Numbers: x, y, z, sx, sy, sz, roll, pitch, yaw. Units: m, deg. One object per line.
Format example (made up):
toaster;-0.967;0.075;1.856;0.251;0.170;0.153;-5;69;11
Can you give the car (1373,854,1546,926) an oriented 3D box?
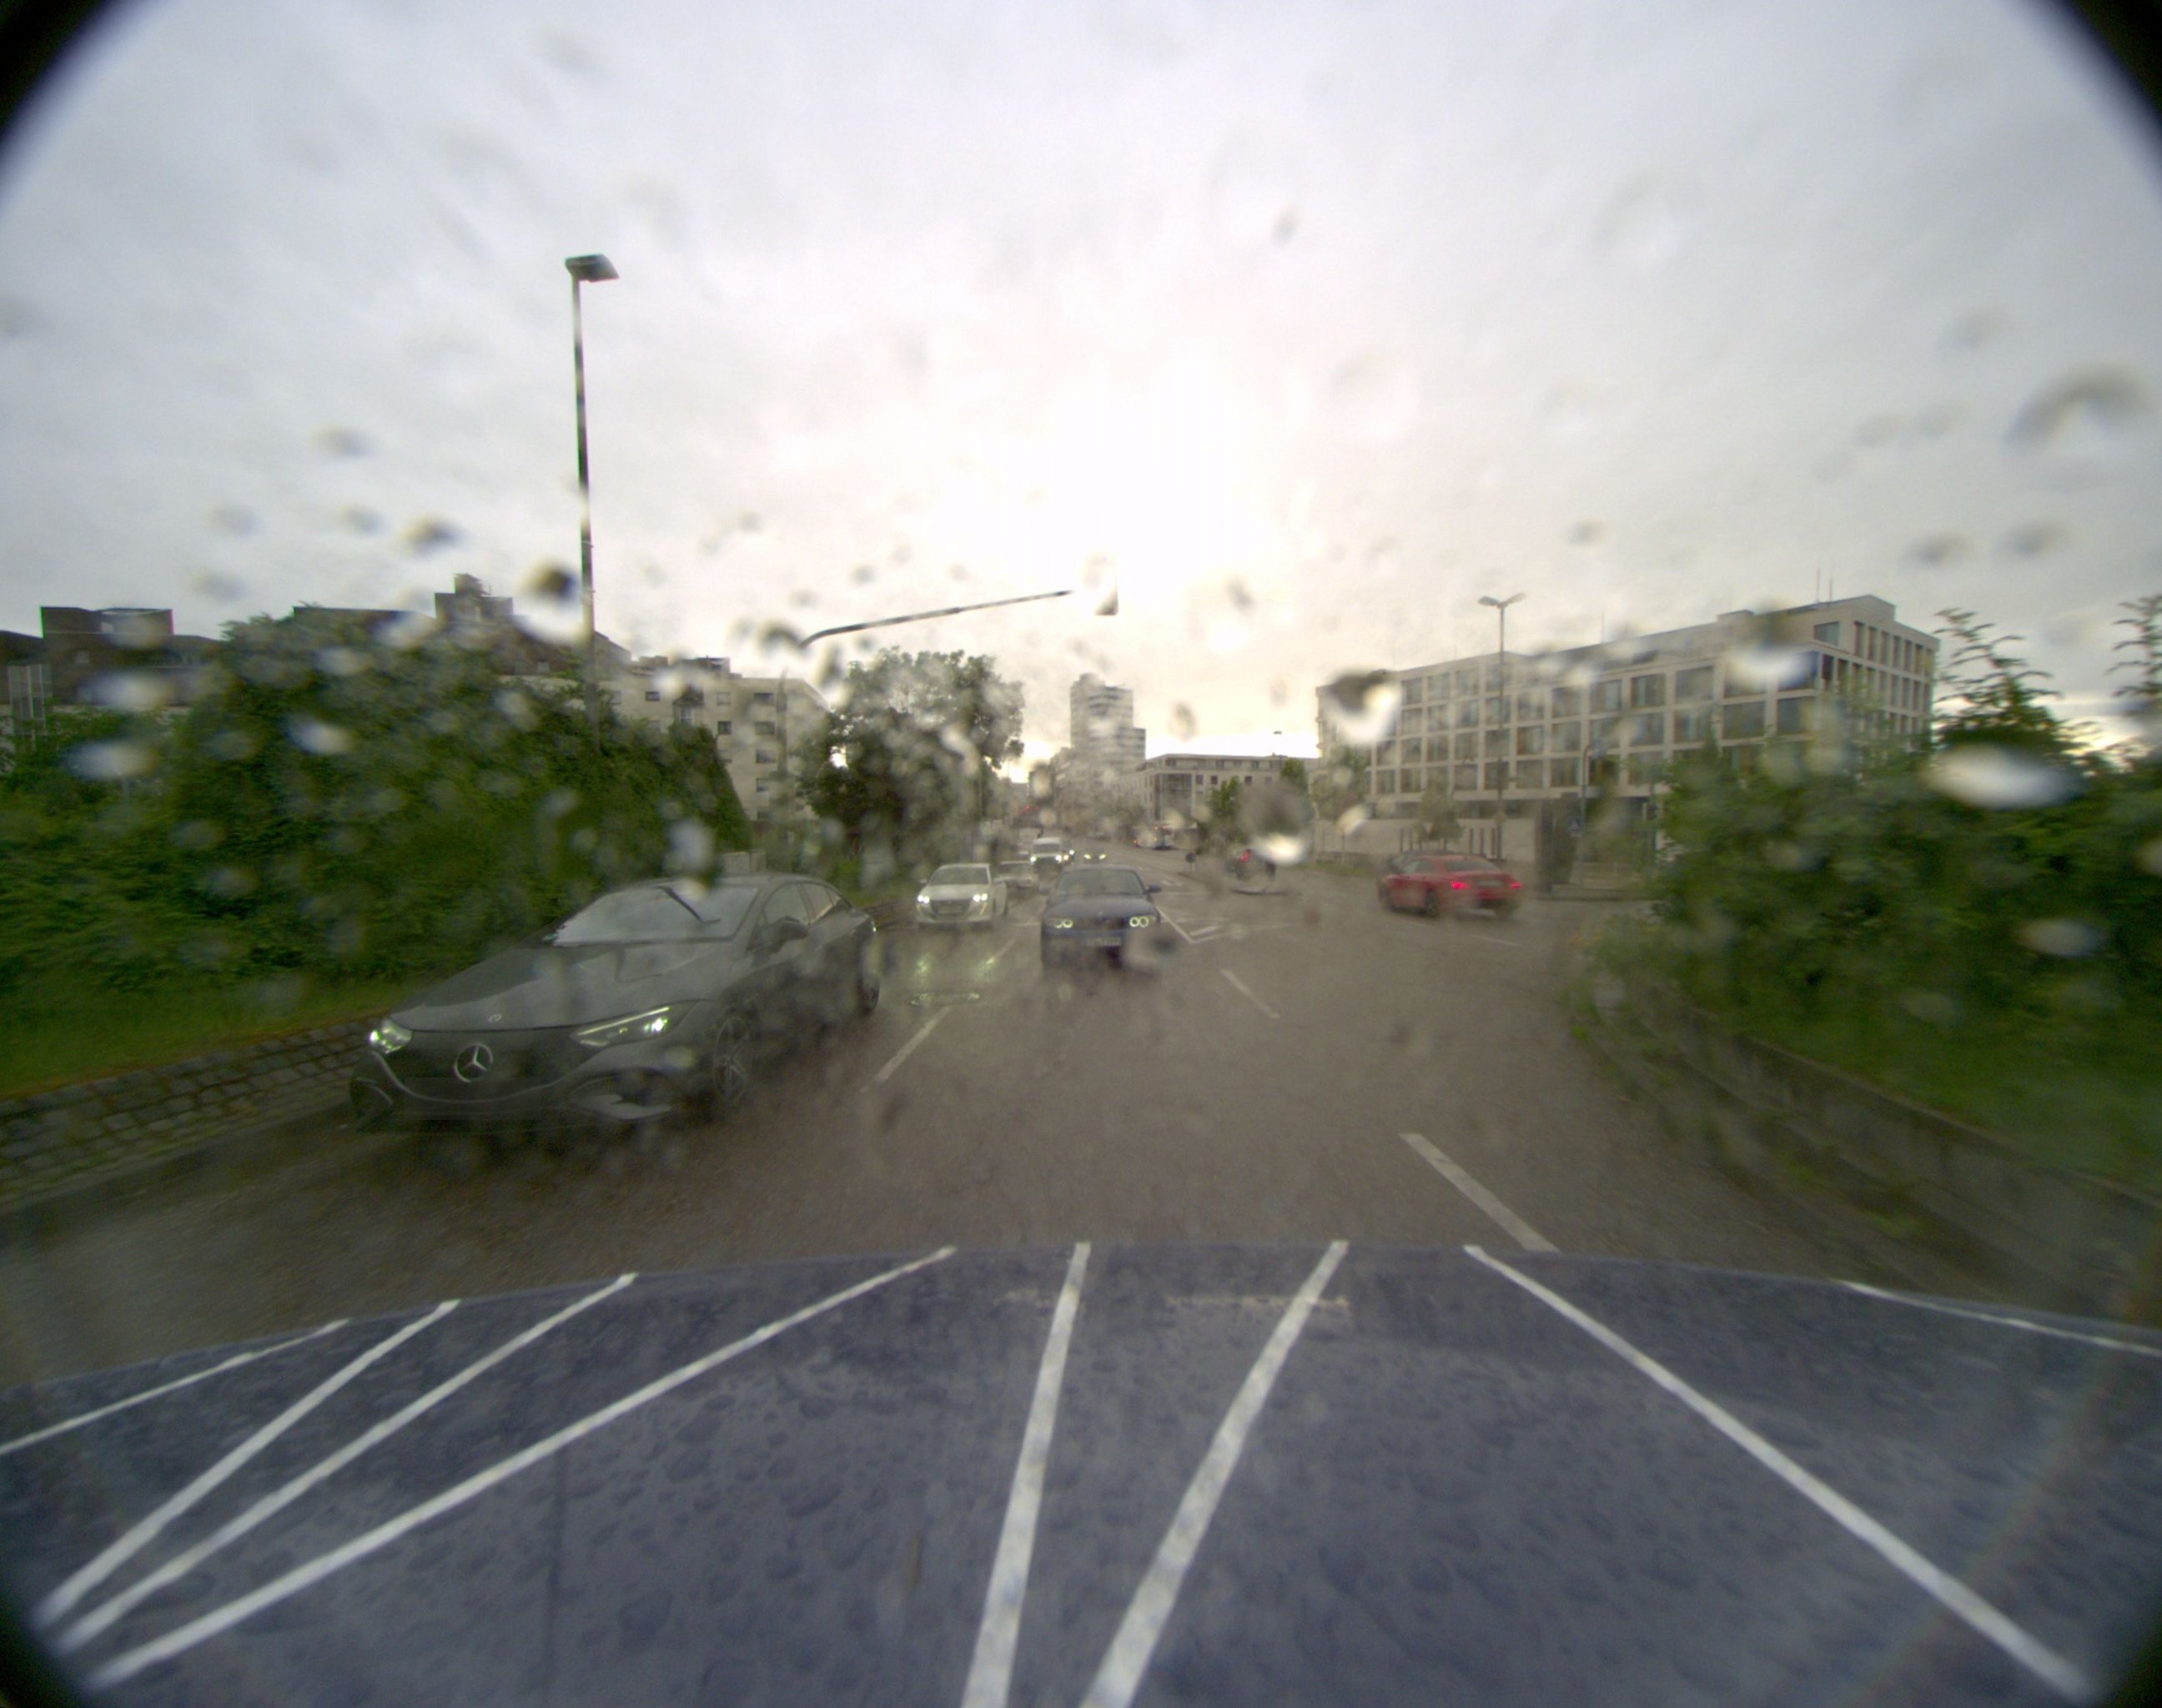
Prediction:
car;8.866;0.763;18.309;1.998;1.406;4.430;-1;2;1

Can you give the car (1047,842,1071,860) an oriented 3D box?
car;-1.916;-0.253;67.195;1.999;1.543;3.999;-1;0;-1

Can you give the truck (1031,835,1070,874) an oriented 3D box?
truck;-1.994;-0.031;51.412;2.169;2.426;6.199;-1;1;2

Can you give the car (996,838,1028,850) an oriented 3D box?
car;-8.975;-1.278;98.422;4.000;1.412;1.998;-2;2;-8

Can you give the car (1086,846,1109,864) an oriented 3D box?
car;1.368;0.054;62.063;1.718;1.369;3.734;-2;1;2

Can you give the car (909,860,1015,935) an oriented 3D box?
car;-2.710;0.945;18.173;1.718;1.389;4.035;-2;1;2

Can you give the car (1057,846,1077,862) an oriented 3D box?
car;-1.444;0.027;79.022;1.999;1.543;3.999;-1;0;-1

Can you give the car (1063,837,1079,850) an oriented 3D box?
car;-1.245;-1.263;96.646;1.999;1.543;3.999;-1;0;-1

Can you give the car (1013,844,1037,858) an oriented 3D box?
car;-5.576;-0.306;76.392;1.998;1.344;3.803;1;1;2

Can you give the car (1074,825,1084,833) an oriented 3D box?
car;-0.348;-5.113;156.676;1.818;1.421;3.942;-2;3;3

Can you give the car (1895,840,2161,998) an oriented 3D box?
car;11.746;0.644;8.035;1.998;1.569;3.999;0;1;1

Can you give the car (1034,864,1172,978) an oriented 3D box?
car;0.345;0.909;11.893;1.787;1.335;3.704;-1;1;2

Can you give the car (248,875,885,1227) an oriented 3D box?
car;-3.084;1.029;5.976;1.836;1.436;4.549;-2;1;0

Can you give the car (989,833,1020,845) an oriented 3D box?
car;-10.143;-2.002;100.548;4.000;1.412;1.701;-2;2;-8

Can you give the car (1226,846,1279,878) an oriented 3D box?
car;8.865;0.389;39.649;1.907;1.543;4.074;0;1;1

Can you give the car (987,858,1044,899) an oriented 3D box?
car;-2.489;0.907;29.736;1.718;1.369;3.734;-2;1;2

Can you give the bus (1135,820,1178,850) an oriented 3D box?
bus;10.557;-2.722;109.103;2.952;3.972;18.216;1;1;-4

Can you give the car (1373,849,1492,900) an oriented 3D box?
car;11.721;0.610;25.702;1.955;1.470;4.294;1;1;-1
